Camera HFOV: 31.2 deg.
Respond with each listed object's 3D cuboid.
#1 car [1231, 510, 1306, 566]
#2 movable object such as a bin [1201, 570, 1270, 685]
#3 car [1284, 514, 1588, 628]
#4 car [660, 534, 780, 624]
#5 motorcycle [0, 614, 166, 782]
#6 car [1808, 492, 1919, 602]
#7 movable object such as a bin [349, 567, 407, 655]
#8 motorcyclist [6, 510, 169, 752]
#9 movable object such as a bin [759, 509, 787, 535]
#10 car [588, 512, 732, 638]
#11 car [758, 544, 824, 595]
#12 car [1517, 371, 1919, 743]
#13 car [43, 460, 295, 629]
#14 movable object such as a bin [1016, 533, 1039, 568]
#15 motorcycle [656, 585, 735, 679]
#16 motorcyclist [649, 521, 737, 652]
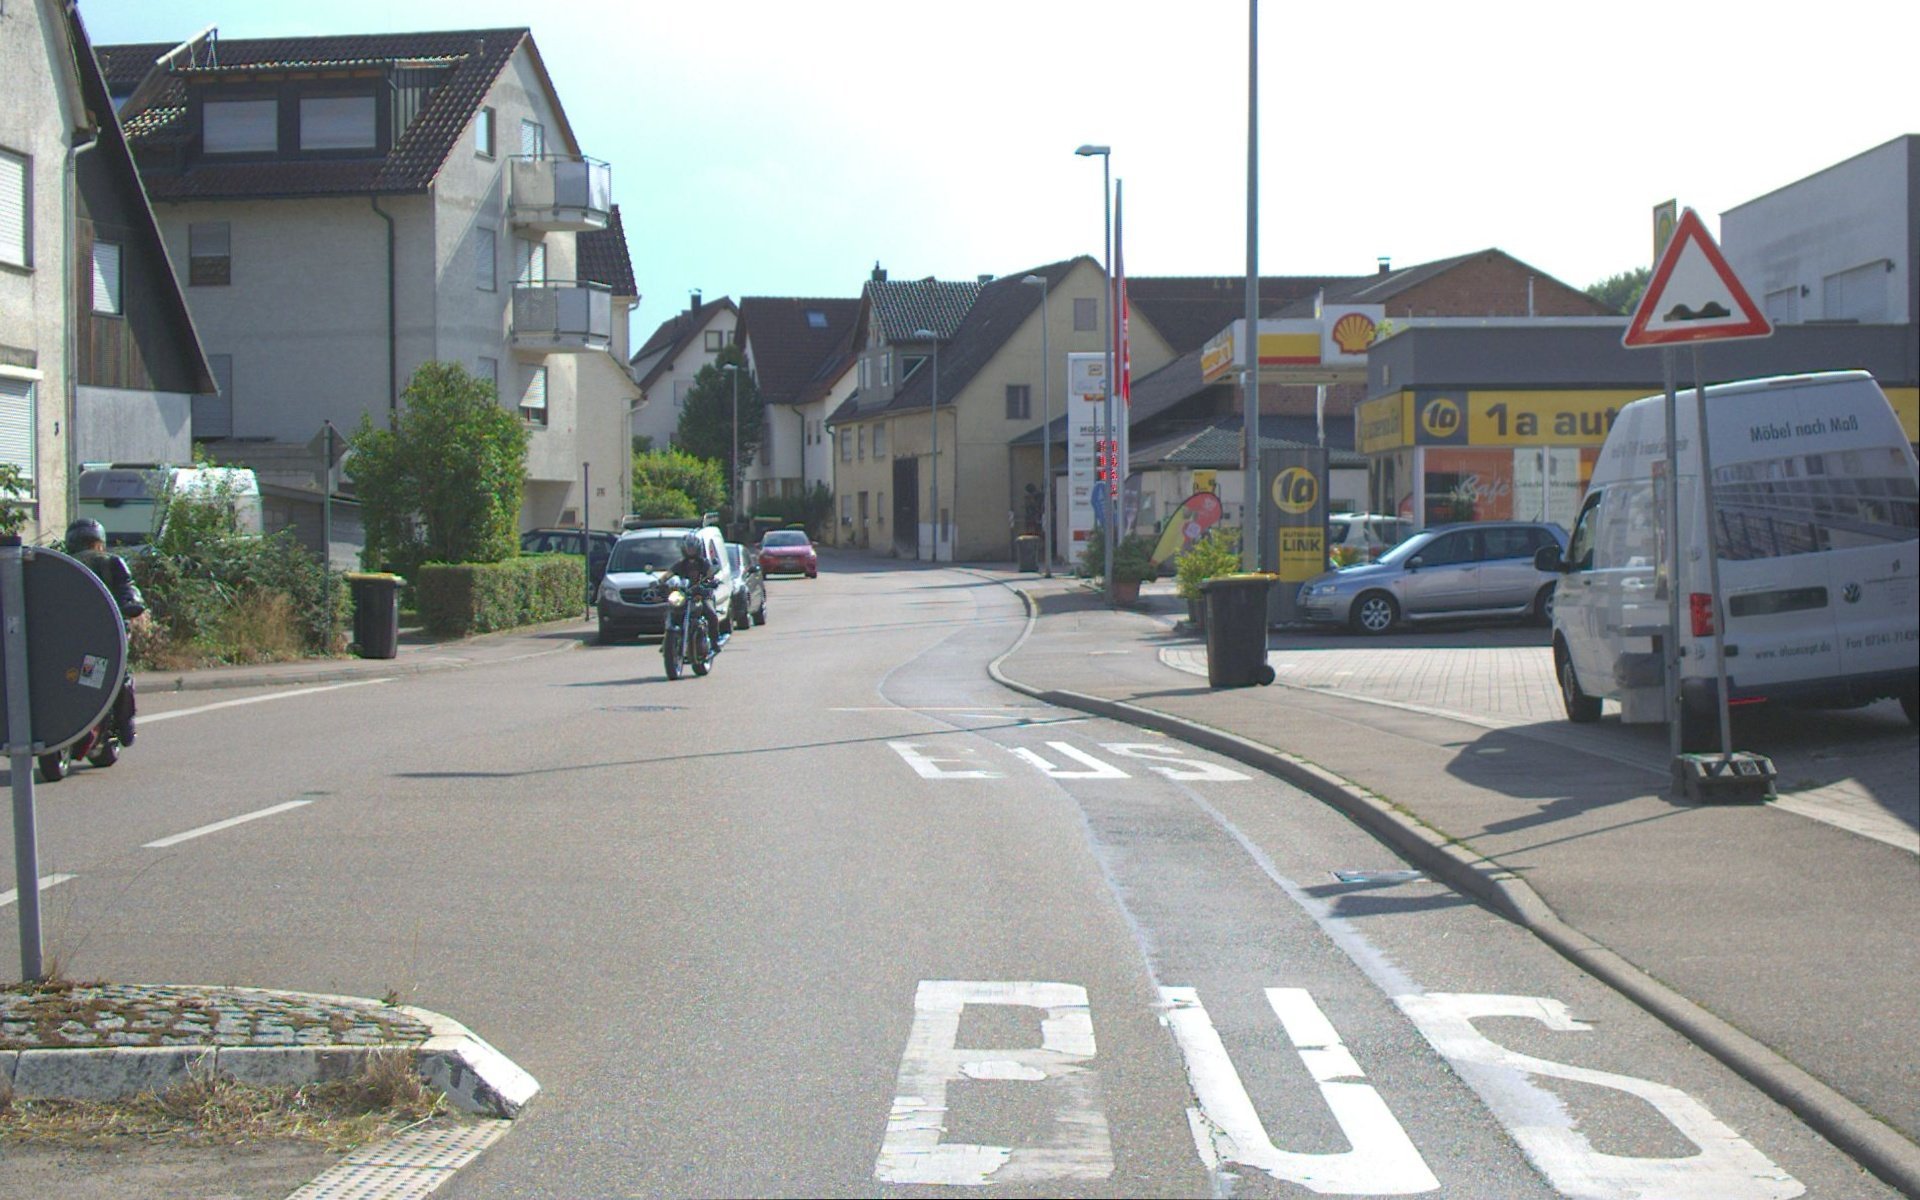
[{"bbox_3d":[8.335,-1.699,93.189,1.578,1.422,4.381,0,2,-1],"label":"car"},{"bbox_3d":[2.625,0.257,32.796,0.567,1.071,0.573,-1,1,-3],"label":"movable object such as a bin"},{"bbox_3d":[6.659,-0.419,48.284,3.986,1.526,1.528,-1,1,-4],"label":"car"},{"bbox_3d":[-4.144,-0.390,59.895,1.673,1.446,3.834,-1,1,2],"label":"car"},{"bbox_3d":[-5.742,0.619,22.604,0.538,1.009,2.028,2,1,0],"label":"motorcycle"},{"bbox_3d":[14.033,-0.762,48.020,3.904,1.462,1.717,0,3,-2],"label":"car"},{"bbox_3d":[-7.364,0.131,43.516,0.611,1.097,0.576,1,0,2],"label":"movable object such as a bin"},{"bbox_3d":[-5.728,0.195,22.613,0.736,1.521,1.016,2,0,1],"label":"motorcyclist"},{"bbox_3d":[-8.361,-3.476,153.335,1.160,1.164,0.655,-1,2,-11],"label":"movable object such as a bin"},{"bbox_3d":[-4.684,-0.430,54.114,1.716,1.866,4.192,-2,1,2],"label":"car"},{"bbox_3d":[-5.154,-0.939,104.496,1.708,1.430,3.781,-2,1,-7],"label":"car"},{"bbox_3d":[5.466,-0.335,24.720,1.836,2.366,5.179,-1,1,-2],"label":"car"},{"bbox_3d":[-12.810,-0.948,56.146,2.159,2.587,6.093,1,2,6],"label":"car"},{"bbox_3d":[2.053,-1.498,104.148,0.653,1.069,0.513,0,1,-2],"label":"movable object such as a bin"},{"bbox_3d":[-2.954,0.344,38.530,0.524,1.009,2.027,1,1,5],"label":"motorcycle"},{"bbox_3d":[-2.981,-0.156,38.466,0.803,1.431,1.036,1,1,6],"label":"motorcyclist"}]
